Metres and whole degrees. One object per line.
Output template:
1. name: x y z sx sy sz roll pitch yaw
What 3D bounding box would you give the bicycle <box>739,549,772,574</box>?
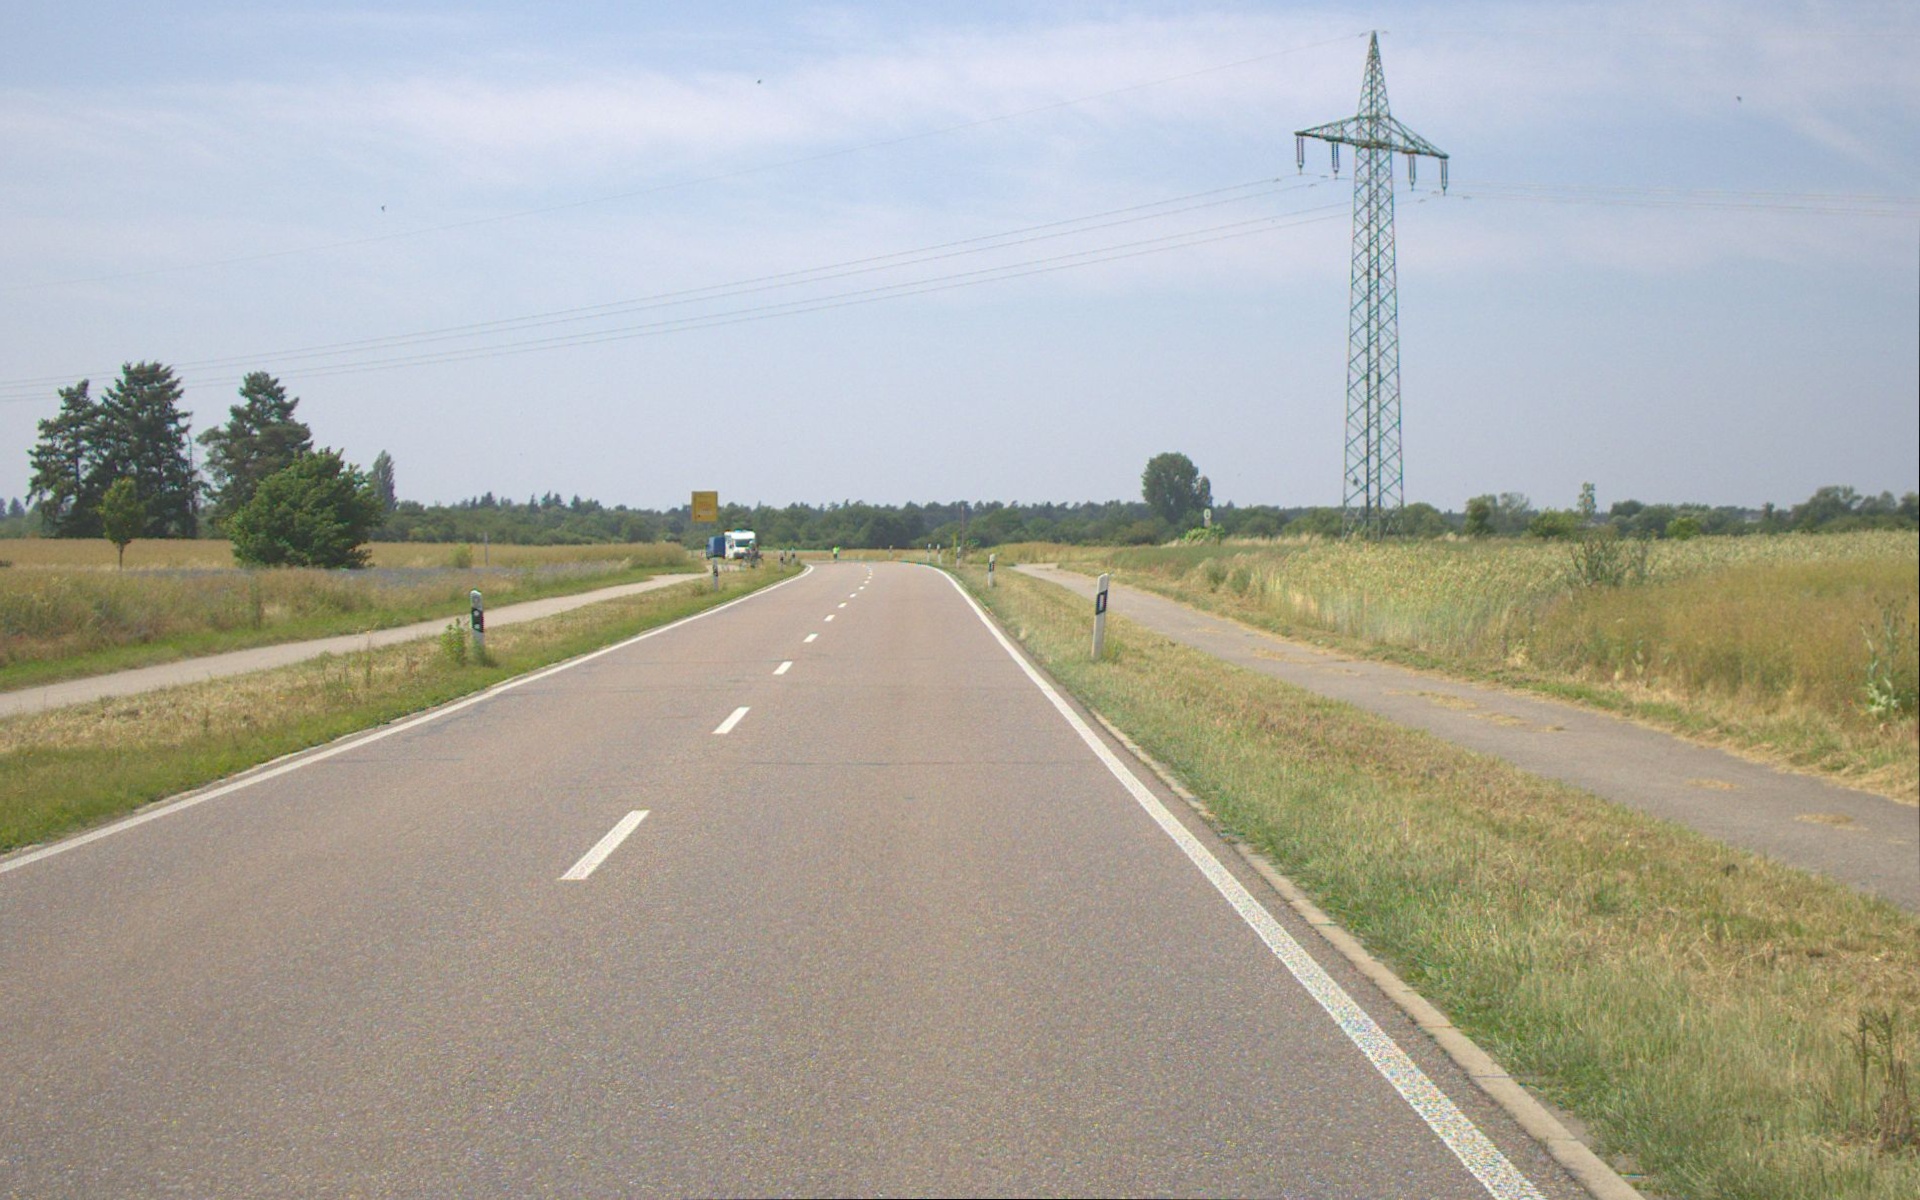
1. bicycle: -10.325 -1.960 173.580 0.763 1.224 2.213 0 1 23

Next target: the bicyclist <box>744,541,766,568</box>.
1. bicyclist: -10.351 -2.292 173.546 0.702 1.326 0.964 0 1 24
